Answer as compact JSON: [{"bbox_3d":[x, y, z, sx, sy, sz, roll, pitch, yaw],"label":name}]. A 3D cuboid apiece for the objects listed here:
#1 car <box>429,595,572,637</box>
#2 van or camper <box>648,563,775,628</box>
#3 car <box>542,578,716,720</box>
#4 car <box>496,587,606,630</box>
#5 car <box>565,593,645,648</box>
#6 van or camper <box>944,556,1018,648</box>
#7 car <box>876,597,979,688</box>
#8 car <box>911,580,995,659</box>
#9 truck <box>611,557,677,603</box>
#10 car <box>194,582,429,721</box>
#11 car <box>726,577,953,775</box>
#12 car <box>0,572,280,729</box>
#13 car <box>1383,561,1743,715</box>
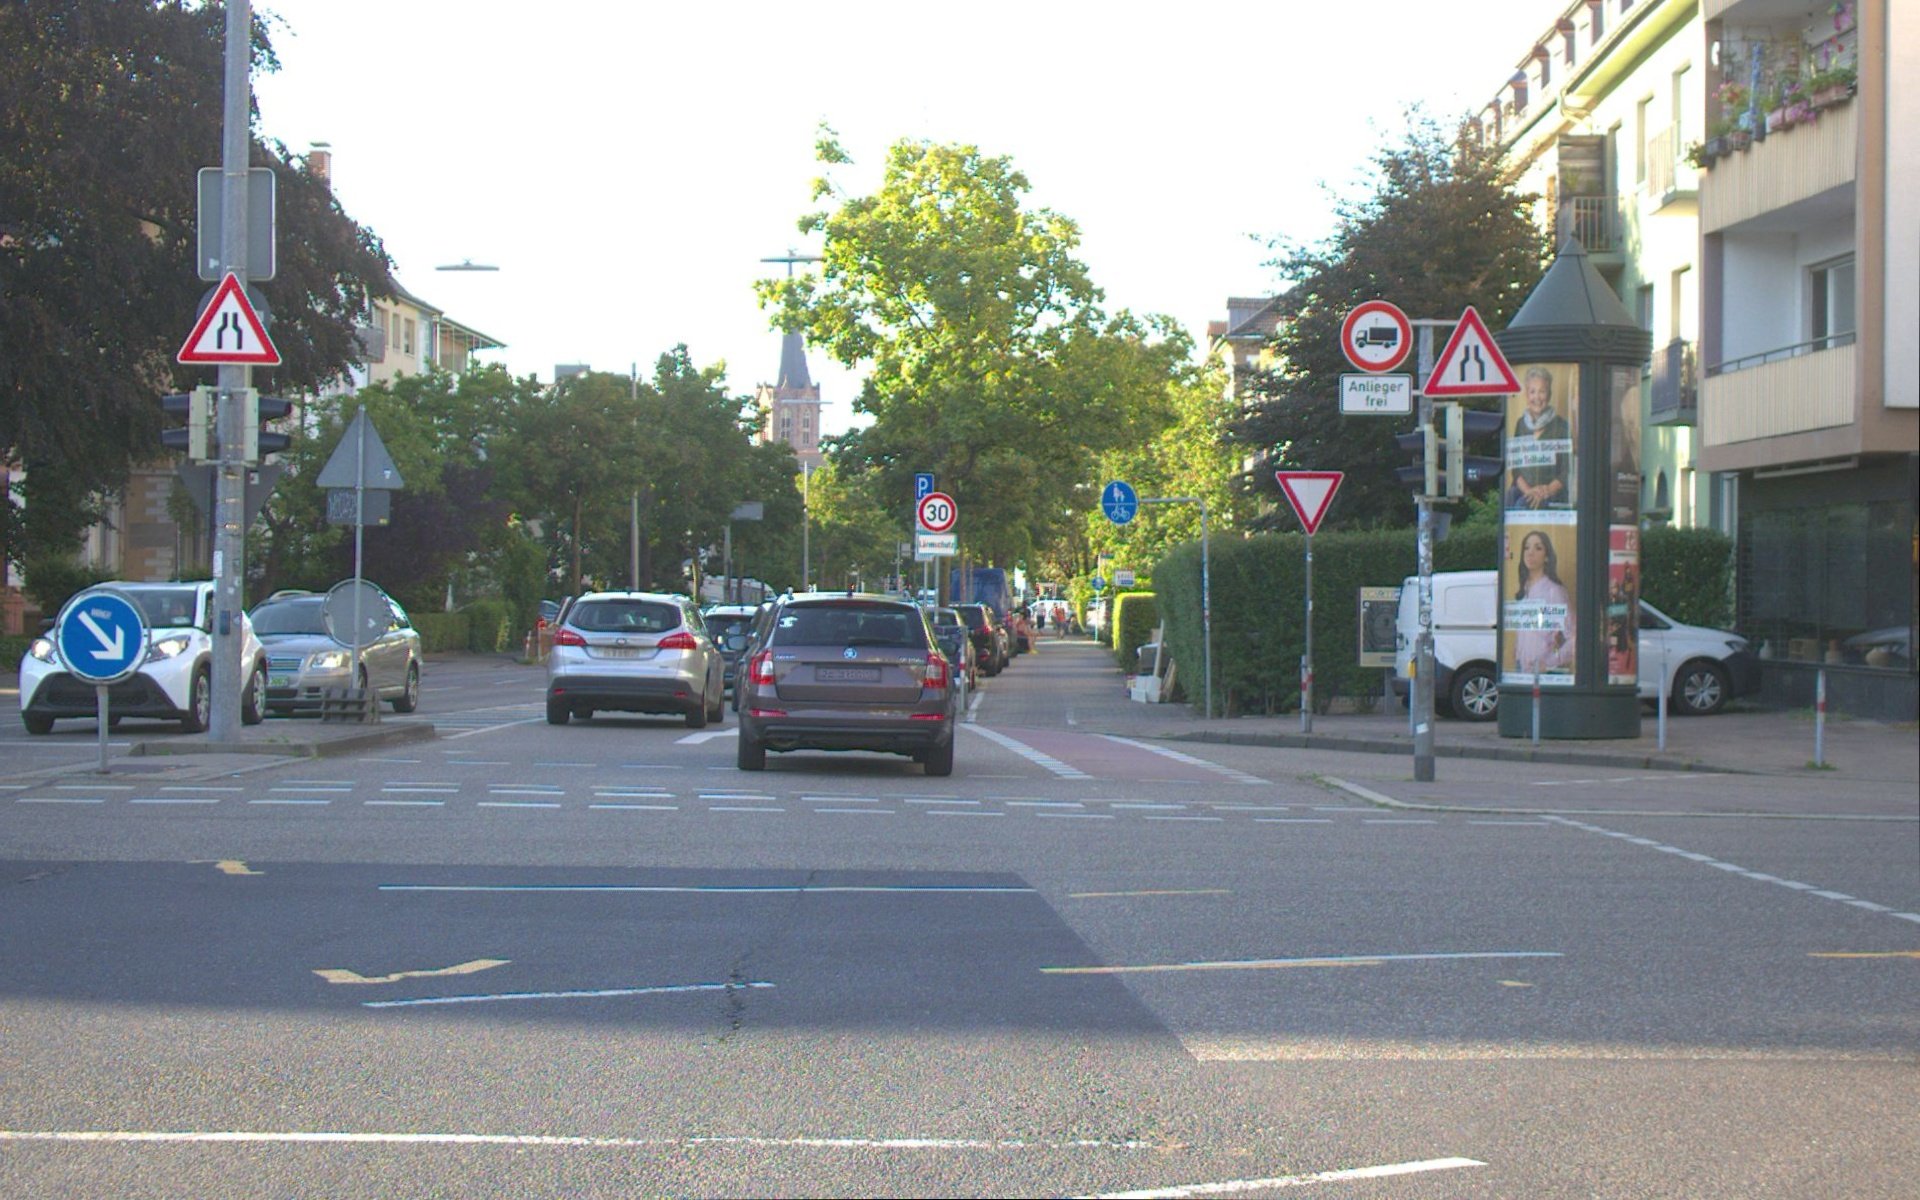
[{"bbox_3d":[-15.678,0.549,117.268,4.709,1.358,2.001,1,1,-11],"label":"car"},{"bbox_3d":[-15.197,-0.271,210.528,7.640,3.861,2.000,1,0,0],"label":"van or camper"},{"bbox_3d":[-3.698,0.512,38.925,1.729,1.488,3.951,1,1,-2],"label":"car"},{"bbox_3d":[-15.632,0.317,131.676,3.986,1.474,2.000,2,0,-2],"label":"car"},{"bbox_3d":[-10.286,0.575,99.811,1.750,1.497,4.196,1,1,1],"label":"car"},{"bbox_3d":[0.651,0.082,103.198,2.068,2.666,5.989,1,0,2],"label":"van or camper"},{"bbox_3d":[-0.561,0.748,62.685,1.732,1.545,3.646,1,1,1],"label":"car"},{"bbox_3d":[-0.127,0.410,75.904,1.732,1.645,4.291,1,1,1],"label":"car"},{"bbox_3d":[-14.780,-0.943,160.766,2.913,2.086,1.546,1,0,1],"label":"truck"},{"bbox_3d":[-7.593,0.563,40.690,1.827,1.509,4.604,1,1,1],"label":"car"},{"bbox_3d":[-1.005,0.575,28.453,1.729,1.488,3.951,1,1,-2],"label":"car"},{"bbox_3d":[-8.196,0.464,34.662,1.827,1.456,3.902,1,1,1],"label":"car"},{"bbox_3d":[7.416,0.449,42.543,4.087,1.808,1.862,1,0,-1],"label":"car"}]
